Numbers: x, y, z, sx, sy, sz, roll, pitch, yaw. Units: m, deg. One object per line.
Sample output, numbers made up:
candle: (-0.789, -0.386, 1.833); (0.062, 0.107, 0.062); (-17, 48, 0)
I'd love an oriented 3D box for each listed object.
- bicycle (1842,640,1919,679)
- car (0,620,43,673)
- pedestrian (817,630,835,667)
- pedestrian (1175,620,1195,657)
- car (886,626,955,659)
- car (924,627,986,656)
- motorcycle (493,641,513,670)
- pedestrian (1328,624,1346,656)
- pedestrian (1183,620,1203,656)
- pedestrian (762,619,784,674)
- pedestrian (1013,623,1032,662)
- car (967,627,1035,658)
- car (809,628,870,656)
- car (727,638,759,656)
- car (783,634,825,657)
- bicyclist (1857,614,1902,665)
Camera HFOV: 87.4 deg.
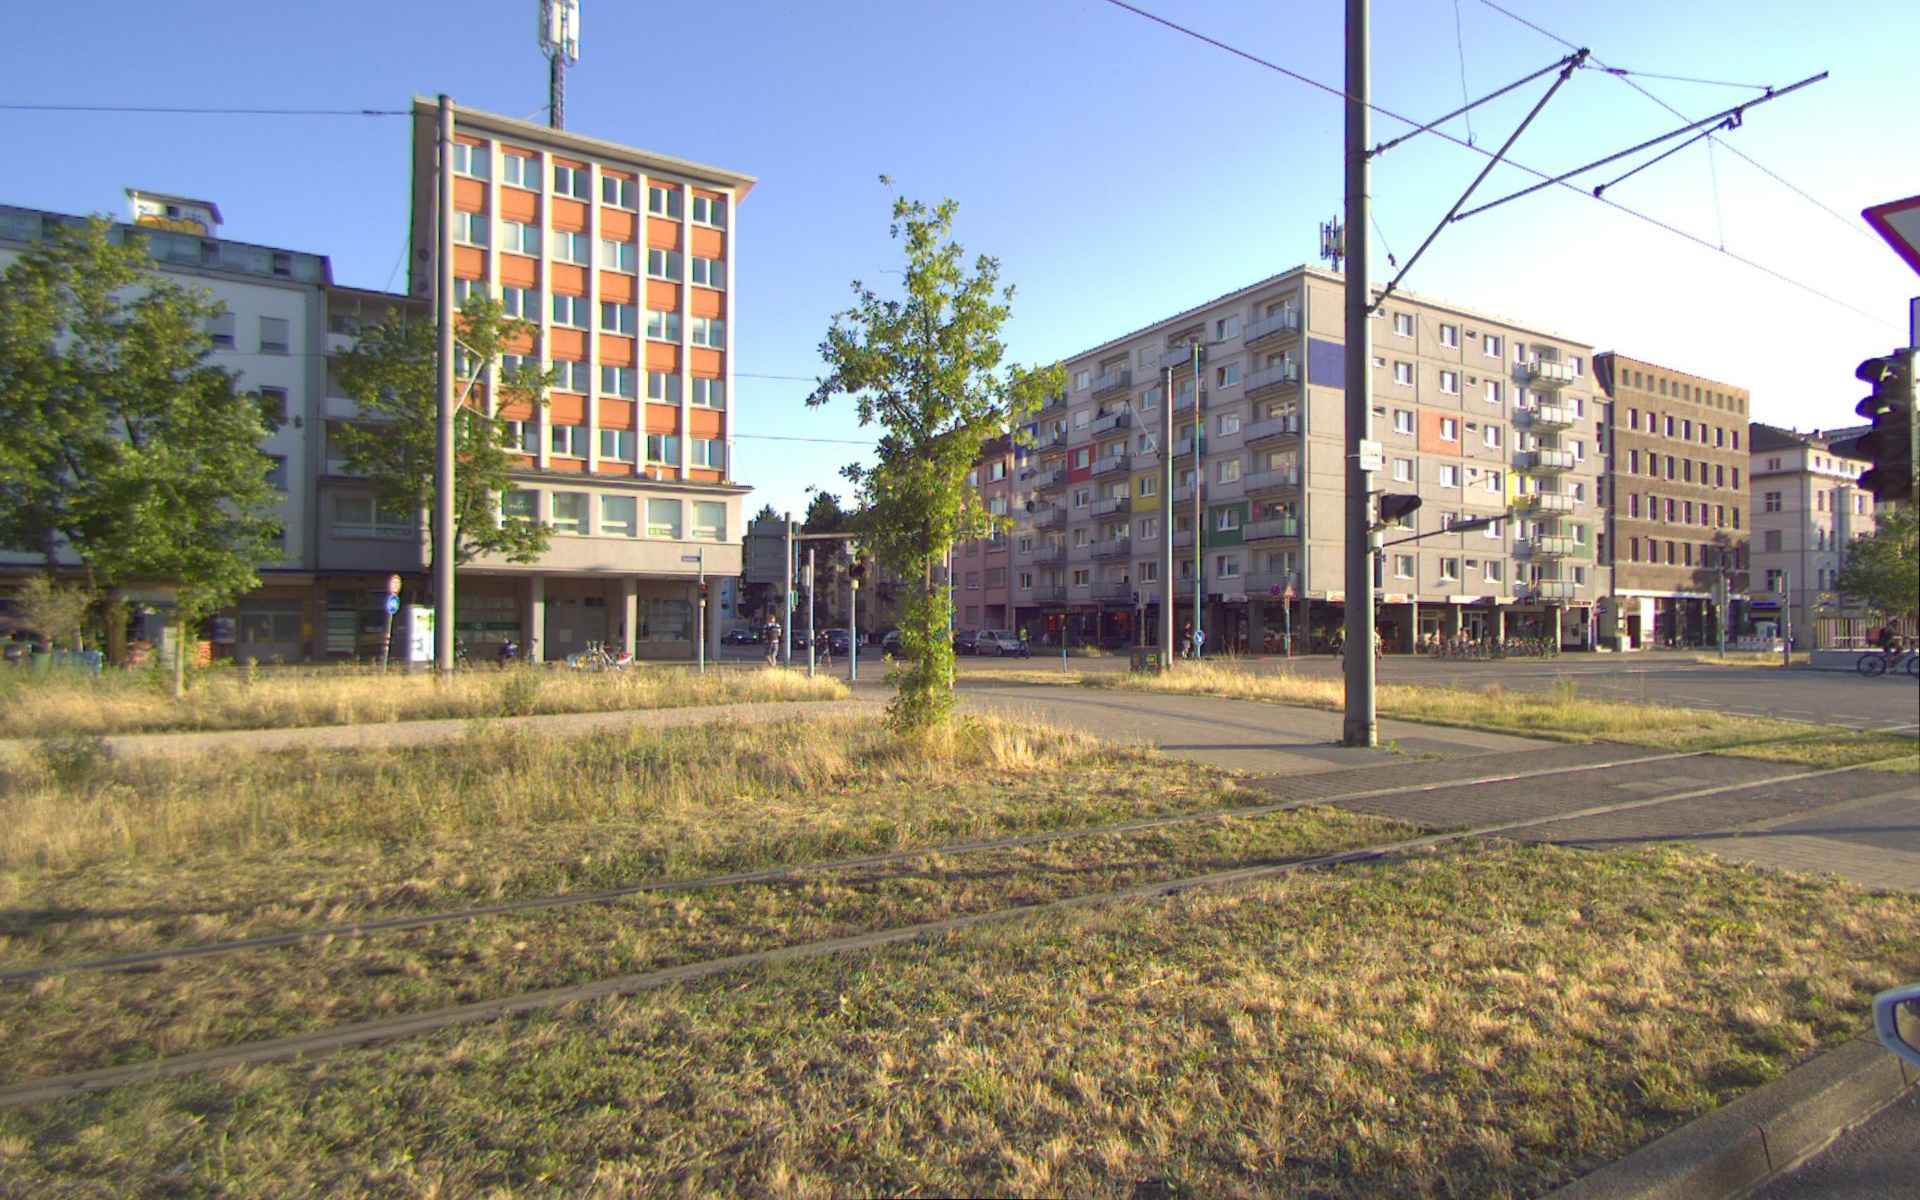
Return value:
bicycle: (27.301, 1.741, 29.707); (0.697, 0.983, 1.717); (-1, 2, -35)
car: (-30.160, 1.412, 29.712); (4.213, 1.547, 1.758); (-1, -1, -8)
pedestrian: (-6.005, 2.172, 45.024); (0.608, 1.651, 0.512); (-1, -1, -30)
pedestrian: (11.828, 2.016, 52.823); (0.728, 1.876, 0.701); (-1, -1, -30)
car: (-2.113, 2.195, 52.310); (1.786, 1.606, 3.840); (0, -2, -35)
car: (-0.351, 2.427, 59.121); (1.786, 1.606, 3.839); (0, -1, -35)
motorcycle: (-17.375, 2.100, 38.216); (0.525, 1.082, 1.442); (-1, -1, -31)
pedestrian: (19.965, 2.118, 53.202); (0.767, 1.692, 0.741); (-1, -1, 16)
pedestrian: (12.077, 1.966, 52.006); (0.812, 1.872, 0.599); (-1, -1, -30)
pedestrian: (-6.158, 1.525, 33.109); (0.638, 1.786, 0.721); (-1, -1, -9)
pedestrian: (3.063, 2.097, 49.428); (0.673, 1.872, 0.630); (-1, -1, -30)
car: (2.247, 2.313, 55.415); (1.786, 1.606, 3.839); (0, -1, -35)
car: (-7.438, 2.571, 61.667); (1.969, 1.606, 4.252); (0, -1, -35)
car: (-19.713, 4.227, 91.125); (1.804, 1.572, 3.969); (-1, -1, -30)
car: (-11.924, 3.442, 76.583); (1.804, 1.572, 3.969); (-1, -1, -30)
bicyclist: (27.257, 1.165, 29.779); (0.657, 1.462, 0.847); (-1, 1, -36)
